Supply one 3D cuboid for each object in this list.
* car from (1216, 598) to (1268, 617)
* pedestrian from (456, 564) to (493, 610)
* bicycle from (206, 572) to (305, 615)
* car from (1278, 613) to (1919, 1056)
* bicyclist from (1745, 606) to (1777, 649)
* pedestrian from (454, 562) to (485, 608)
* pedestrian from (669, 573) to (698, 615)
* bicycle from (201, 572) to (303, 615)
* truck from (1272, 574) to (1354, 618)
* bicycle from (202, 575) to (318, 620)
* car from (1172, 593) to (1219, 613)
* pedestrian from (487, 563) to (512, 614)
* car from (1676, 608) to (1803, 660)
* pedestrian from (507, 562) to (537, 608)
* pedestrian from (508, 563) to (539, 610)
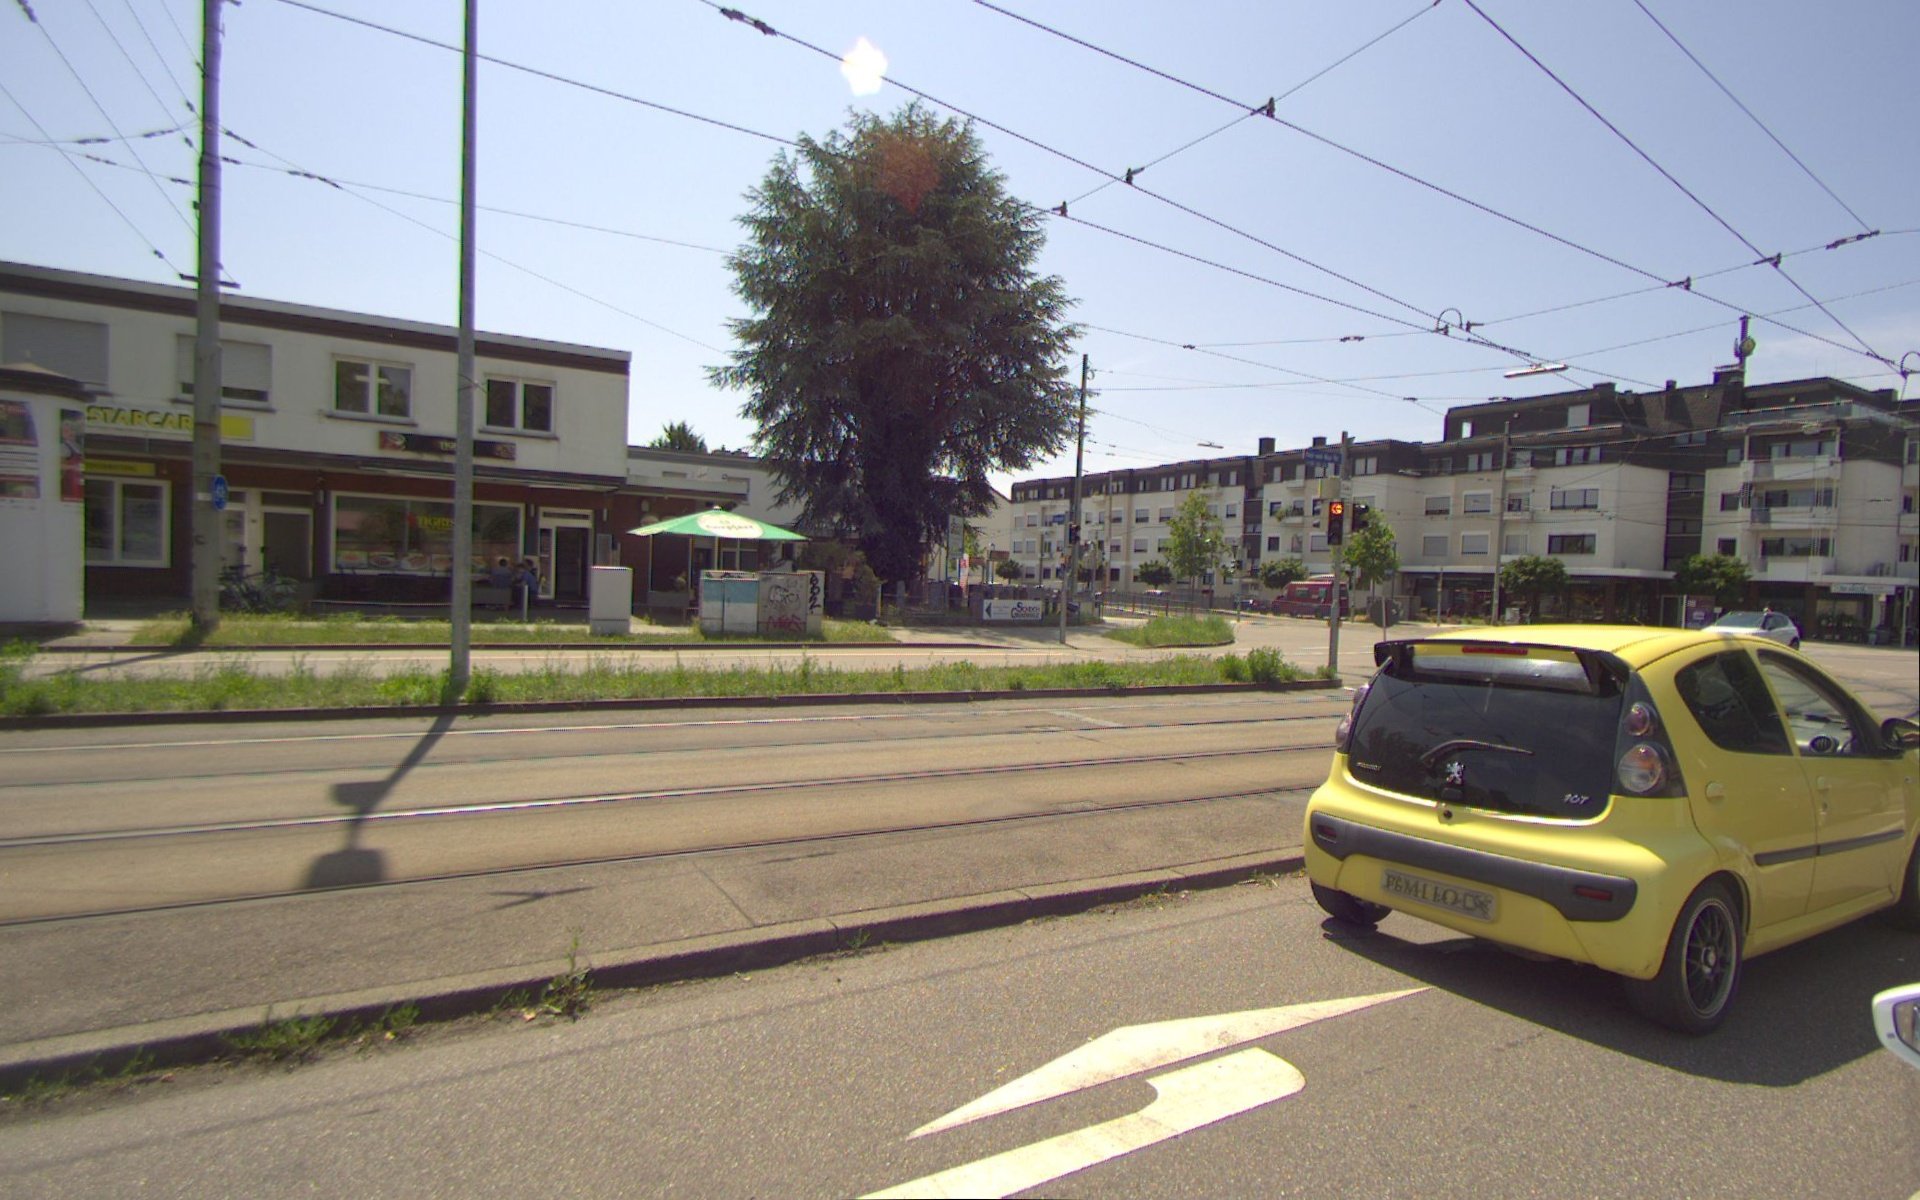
[{"bbox_3d":[20.392,0.524,72.831,1.571,1.235,3.553,1,1,-29],"label":"car"},{"bbox_3d":[-12.500,-0.331,25.877,0.801,1.142,0.561,1,1,-30],"label":"pedestrian"},{"bbox_3d":[-15.785,-0.142,22.547,1.767,0.859,0.525,2,4,-31],"label":"bicycle"},{"bbox_3d":[3.437,0.829,4.919,3.614,1.440,1.608,2,-1,-31],"label":"car"},{"bbox_3d":[34.740,1.188,43.563,1.124,1.789,0.691,0,2,-31],"label":"bicyclist"},{"bbox_3d":[-12.927,-0.405,26.470,0.666,1.179,0.514,1,1,-30],"label":"pedestrian"},{"bbox_3d":[-7.805,-0.168,28.337,0.666,1.142,0.514,1,1,-30],"label":"pedestrian"},{"bbox_3d":[-15.506,-0.133,22.051,1.767,0.859,0.525,2,4,-31],"label":"bicycle"},{"bbox_3d":[23.748,-0.307,67.780,2.161,2.734,5.003,1,1,-29],"label":"truck"},{"bbox_3d":[-14.670,-0.049,21.098,1.936,0.859,0.599,2,3,-31],"label":"bicycle"},{"bbox_3d":[18.208,0.227,77.691,1.571,1.452,3.553,1,1,-29],"label":"car"},{"bbox_3d":[-11.717,-0.298,25.549,0.486,1.255,0.572,1,1,-31],"label":"pedestrian"},{"bbox_3d":[26.562,1.157,34.211,4.091,1.573,1.984,2,1,-30],"label":"car"},{"bbox_3d":[-11.748,-0.403,26.960,0.666,1.225,0.514,1,1,-30],"label":"pedestrian"},{"bbox_3d":[-11.480,-0.358,26.436,0.666,1.215,0.514,1,1,-30],"label":"pedestrian"}]
